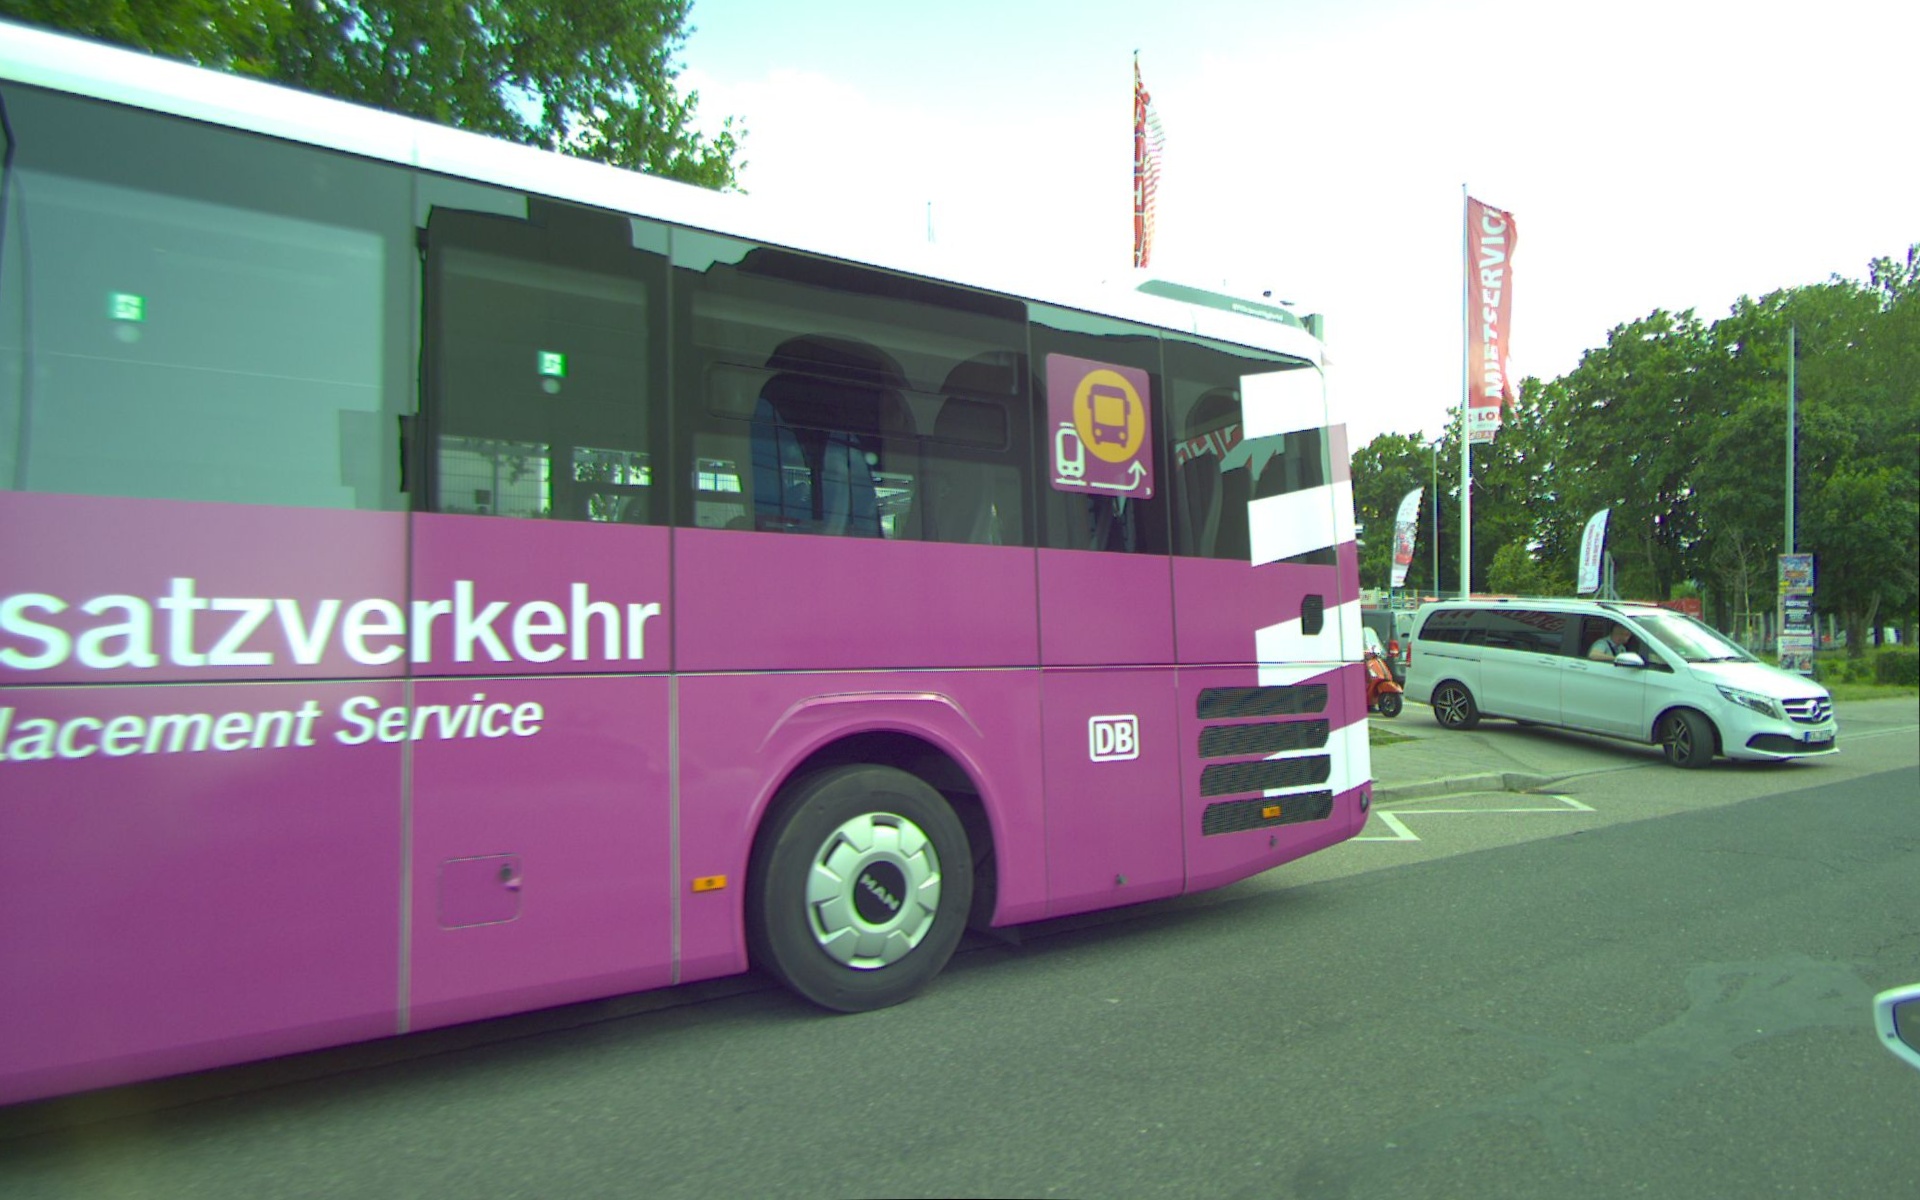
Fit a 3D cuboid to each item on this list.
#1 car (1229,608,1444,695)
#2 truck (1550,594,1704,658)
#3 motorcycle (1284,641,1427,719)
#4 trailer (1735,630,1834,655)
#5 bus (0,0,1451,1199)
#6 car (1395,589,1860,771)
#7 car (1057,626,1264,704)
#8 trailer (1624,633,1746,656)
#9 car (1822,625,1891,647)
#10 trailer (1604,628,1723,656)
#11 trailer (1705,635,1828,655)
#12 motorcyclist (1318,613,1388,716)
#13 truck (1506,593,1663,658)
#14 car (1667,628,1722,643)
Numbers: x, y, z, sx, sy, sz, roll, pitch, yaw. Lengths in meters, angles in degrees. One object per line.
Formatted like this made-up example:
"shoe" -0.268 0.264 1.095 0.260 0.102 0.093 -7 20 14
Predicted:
"car" 8.843 1.137 23.964 2.087 1.869 4.520 1 -1 -31
"truck" 29.748 1.145 45.007 1.758 2.628 5.522 3 -2 -30
"motorcycle" 6.874 1.358 17.575 0.982 1.230 2.211 1 -2 -30
"trailer" 44.199 2.263 53.934 1.691 1.206 3.806 0 -1 -24
"bus" -3.499 -0.071 3.583 13.066 3.466 2.651 1 -5 -31
"car" 8.622 0.916 13.613 1.965 1.975 4.986 1 -1 -25
"car" 4.262 1.332 22.153 1.931 1.473 4.663 1 -1 -29
"trailer" 34.285 2.084 47.581 2.136 0.925 4.211 3 -2 -32
"car" 96.052 3.855 107.650 1.779 2.240 5.254 2 -2 -33
"trailer" 32.312 1.910 46.232 1.654 1.135 4.211 3 -2 -32
"trailer" 42.031 2.324 52.481 2.158 0.925 4.581 0 -1 -25
"motorcyclist" 6.876 1.101 17.584 0.983 1.745 0.671 1 -1 -30
"truck" 27.227 1.100 44.046 1.793 2.628 5.731 3 -2 -28
"car" 72.640 3.529 99.367 1.778 1.424 3.995 1 -1 -32
